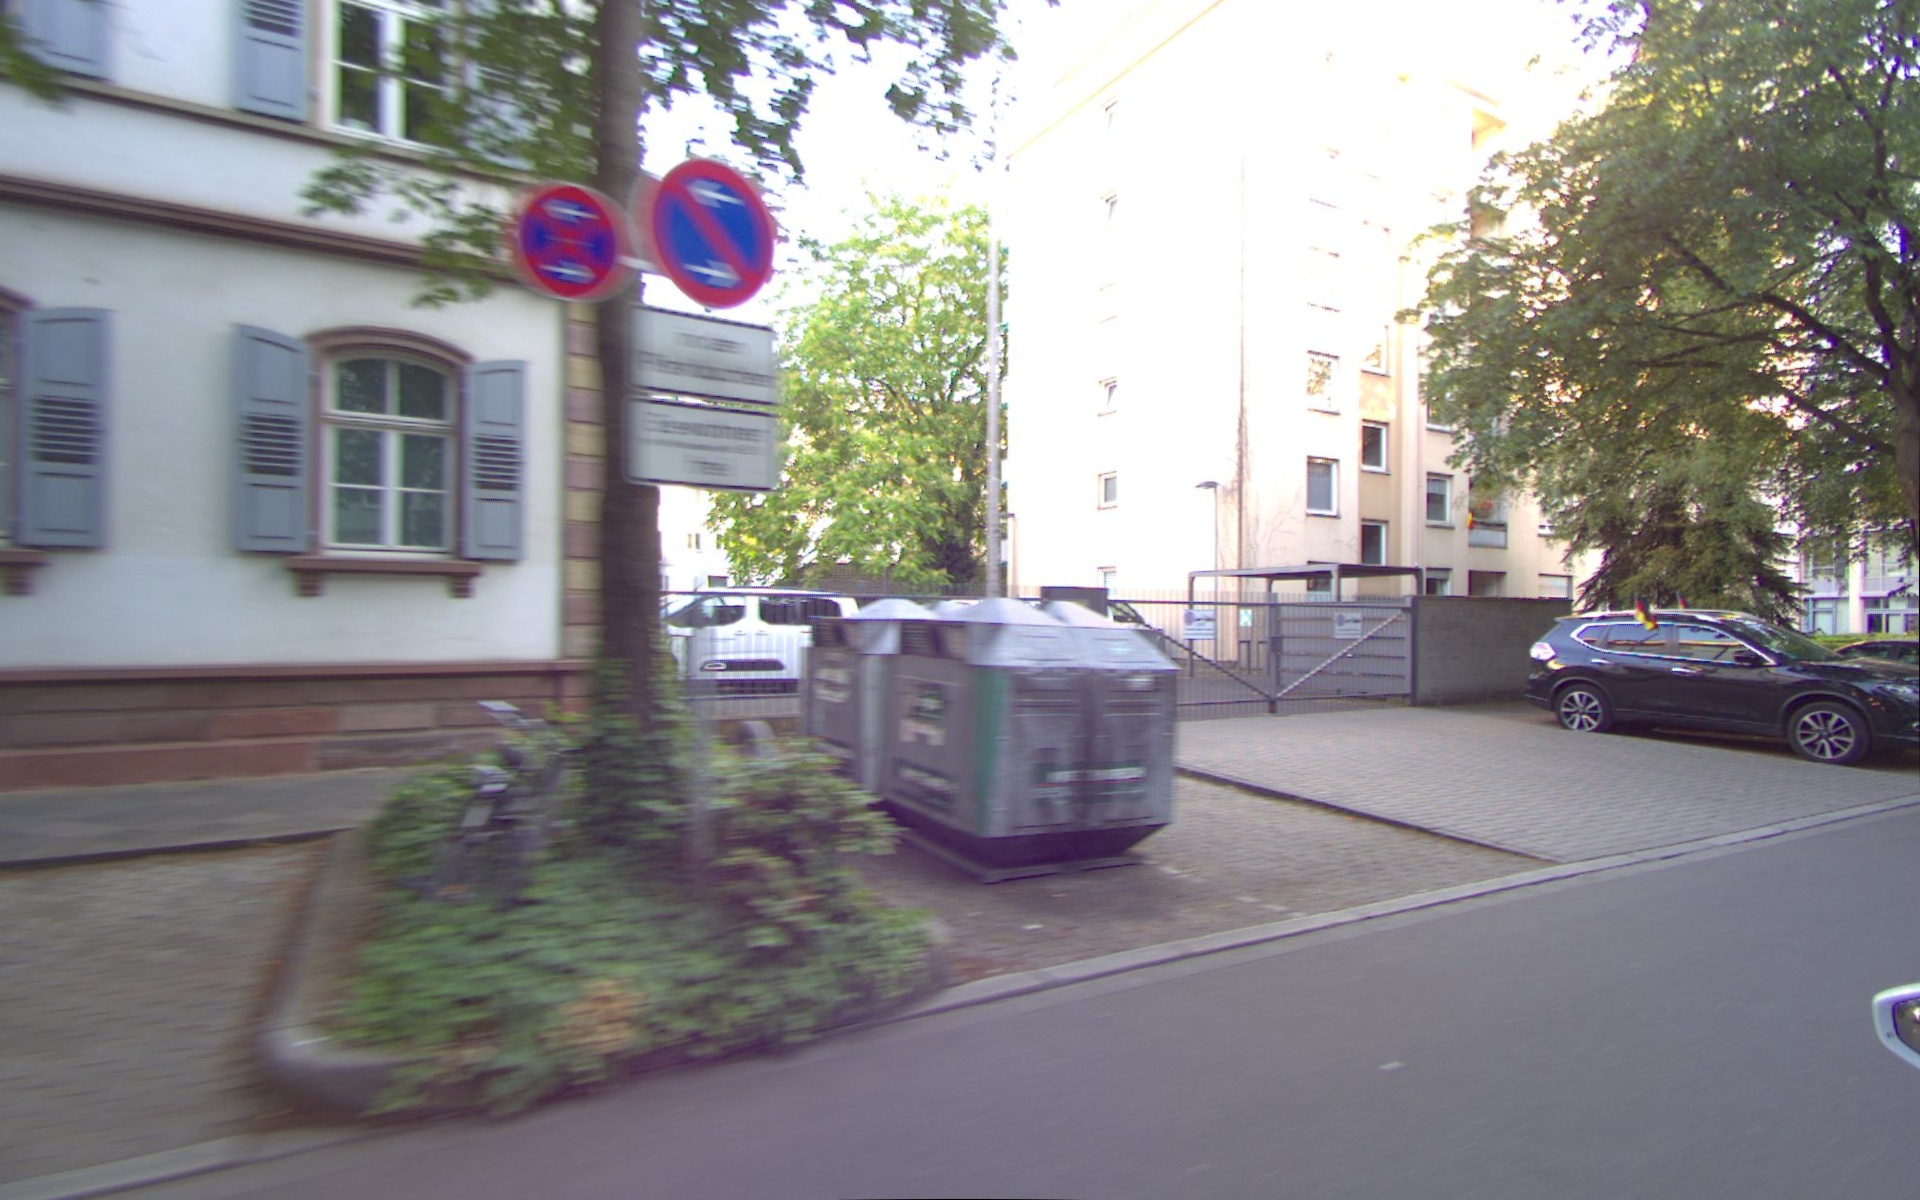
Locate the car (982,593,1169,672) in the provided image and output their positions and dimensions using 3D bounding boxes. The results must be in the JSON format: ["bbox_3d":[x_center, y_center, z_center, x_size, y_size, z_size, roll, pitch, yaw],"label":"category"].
[{"bbox_3d":[3.087,0.847,26.743,4.644,1.948,2.043,1,-1,-28],"label":"car"}]

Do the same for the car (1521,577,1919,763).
[{"bbox_3d":[10.018,0.781,12.962,1.977,1.981,4.482,1,-1,-31],"label":"car"}]

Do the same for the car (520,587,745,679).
[{"bbox_3d":[-7.640,0.753,23.556,4.639,1.950,2.134,1,-1,-33],"label":"car"}]

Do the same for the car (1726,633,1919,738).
[{"bbox_3d":[14.530,1.285,15.455,1.900,1.483,3.967,1,-1,-31],"label":"car"}]

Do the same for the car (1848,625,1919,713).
[{"bbox_3d":[18.823,1.271,17.994,1.903,1.586,3.976,1,-1,-24],"label":"car"}]

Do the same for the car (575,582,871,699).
[{"bbox_3d":[-4.061,0.667,17.497,4.629,1.781,1.985,1,-1,-34],"label":"car"}]

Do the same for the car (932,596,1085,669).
[{"bbox_3d":[1.390,0.910,28.825,3.952,1.973,1.985,1,-1,-29],"label":"car"}]

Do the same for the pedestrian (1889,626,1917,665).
[{"bbox_3d":[46.612,2.225,49.663,0.875,1.875,0.873,0,-1,34],"label":"pedestrian"}]

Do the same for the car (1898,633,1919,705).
[{"bbox_3d":[21.101,1.401,19.236,1.857,1.448,4.268,1,-1,-29],"label":"car"}]

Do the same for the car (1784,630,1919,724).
[{"bbox_3d":[16.507,1.287,16.739,1.805,1.510,3.965,1,-1,-32],"label":"car"}]
